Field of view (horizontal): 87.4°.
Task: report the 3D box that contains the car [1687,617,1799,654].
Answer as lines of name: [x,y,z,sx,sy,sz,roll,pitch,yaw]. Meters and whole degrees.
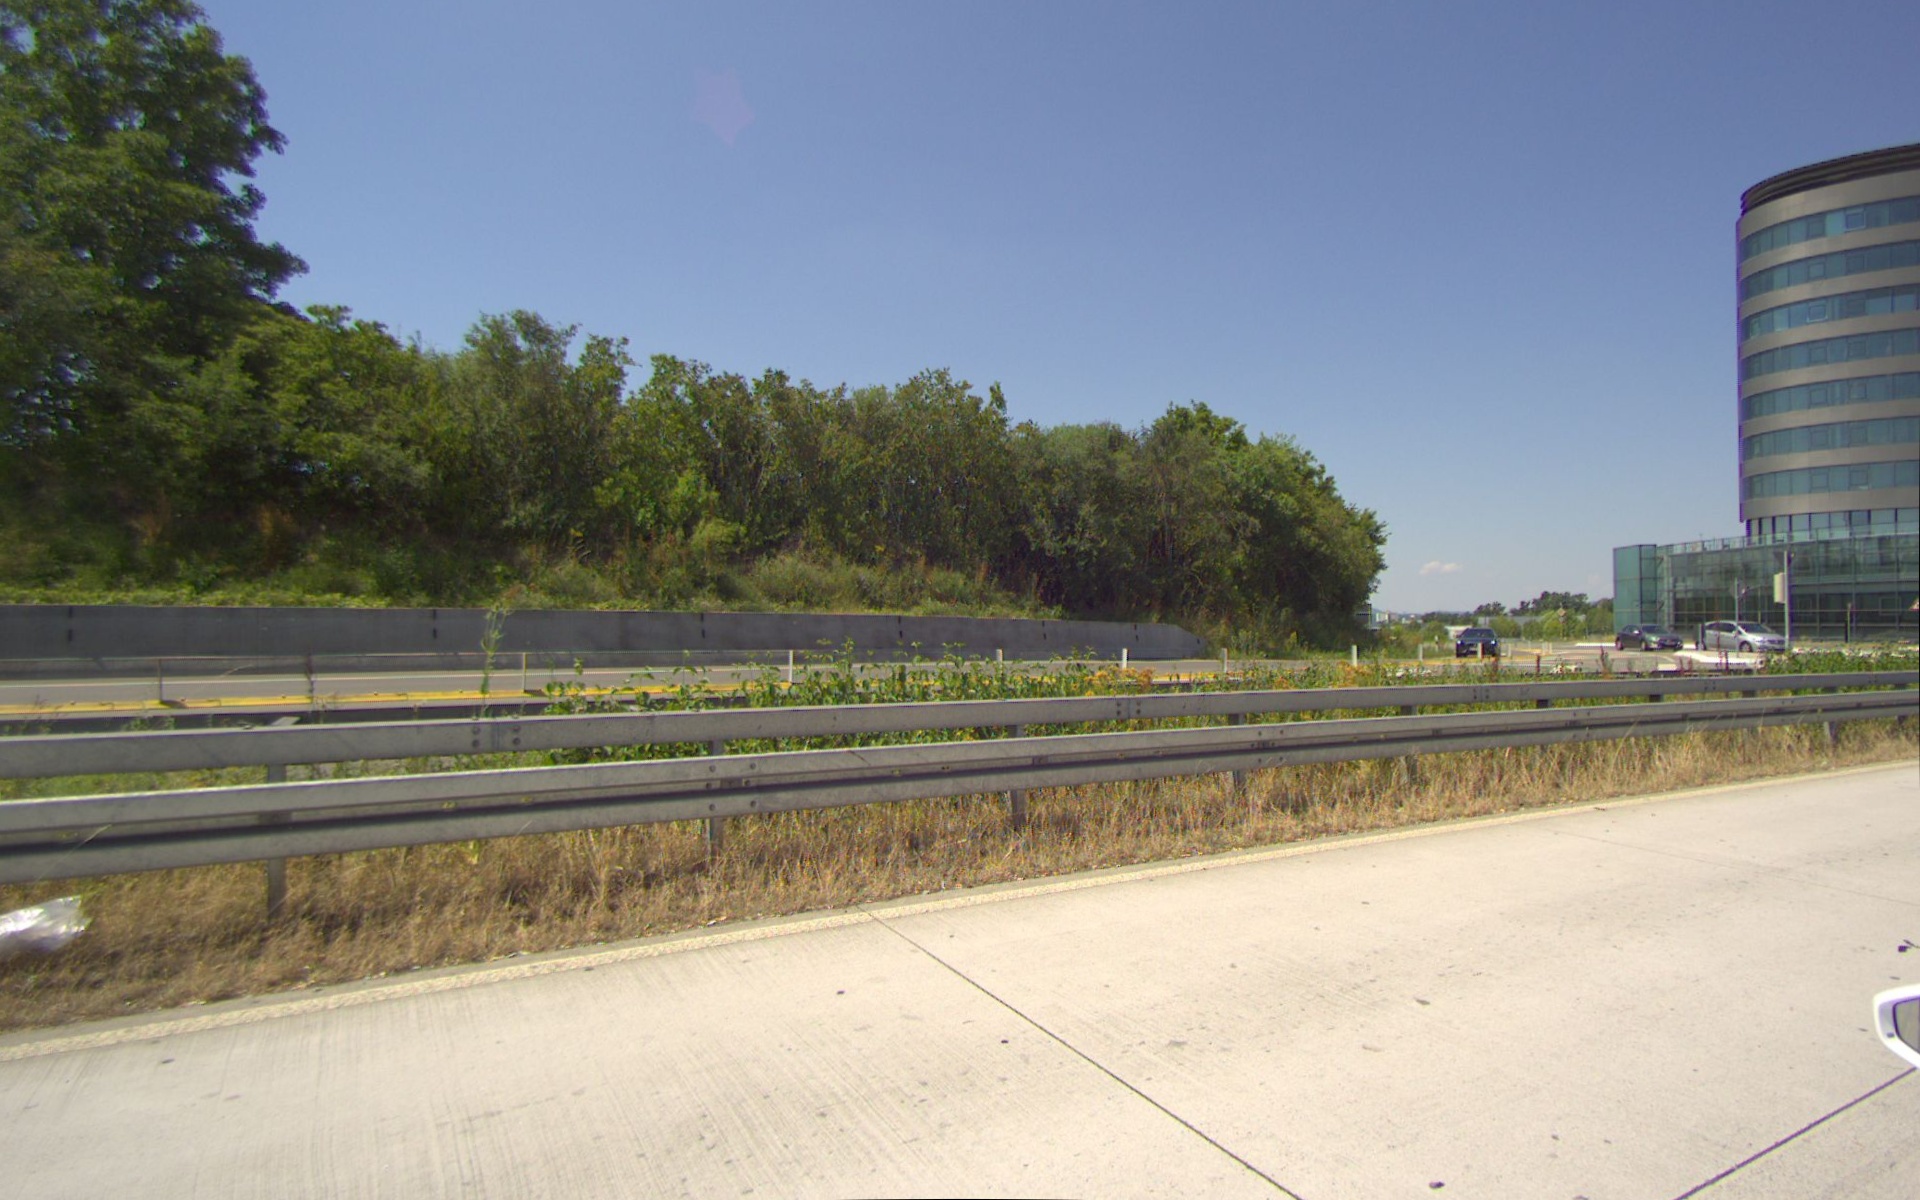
car: [36.484,1.676,46.963,1.742,1.616,4.329,2,-2,-2]

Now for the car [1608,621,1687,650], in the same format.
car: [37.322,1.948,54.636,1.663,1.475,4.333,2,-2,6]

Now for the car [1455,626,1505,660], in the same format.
car: [25.171,2.059,48.564,1.688,1.504,4.282,2,0,34]
